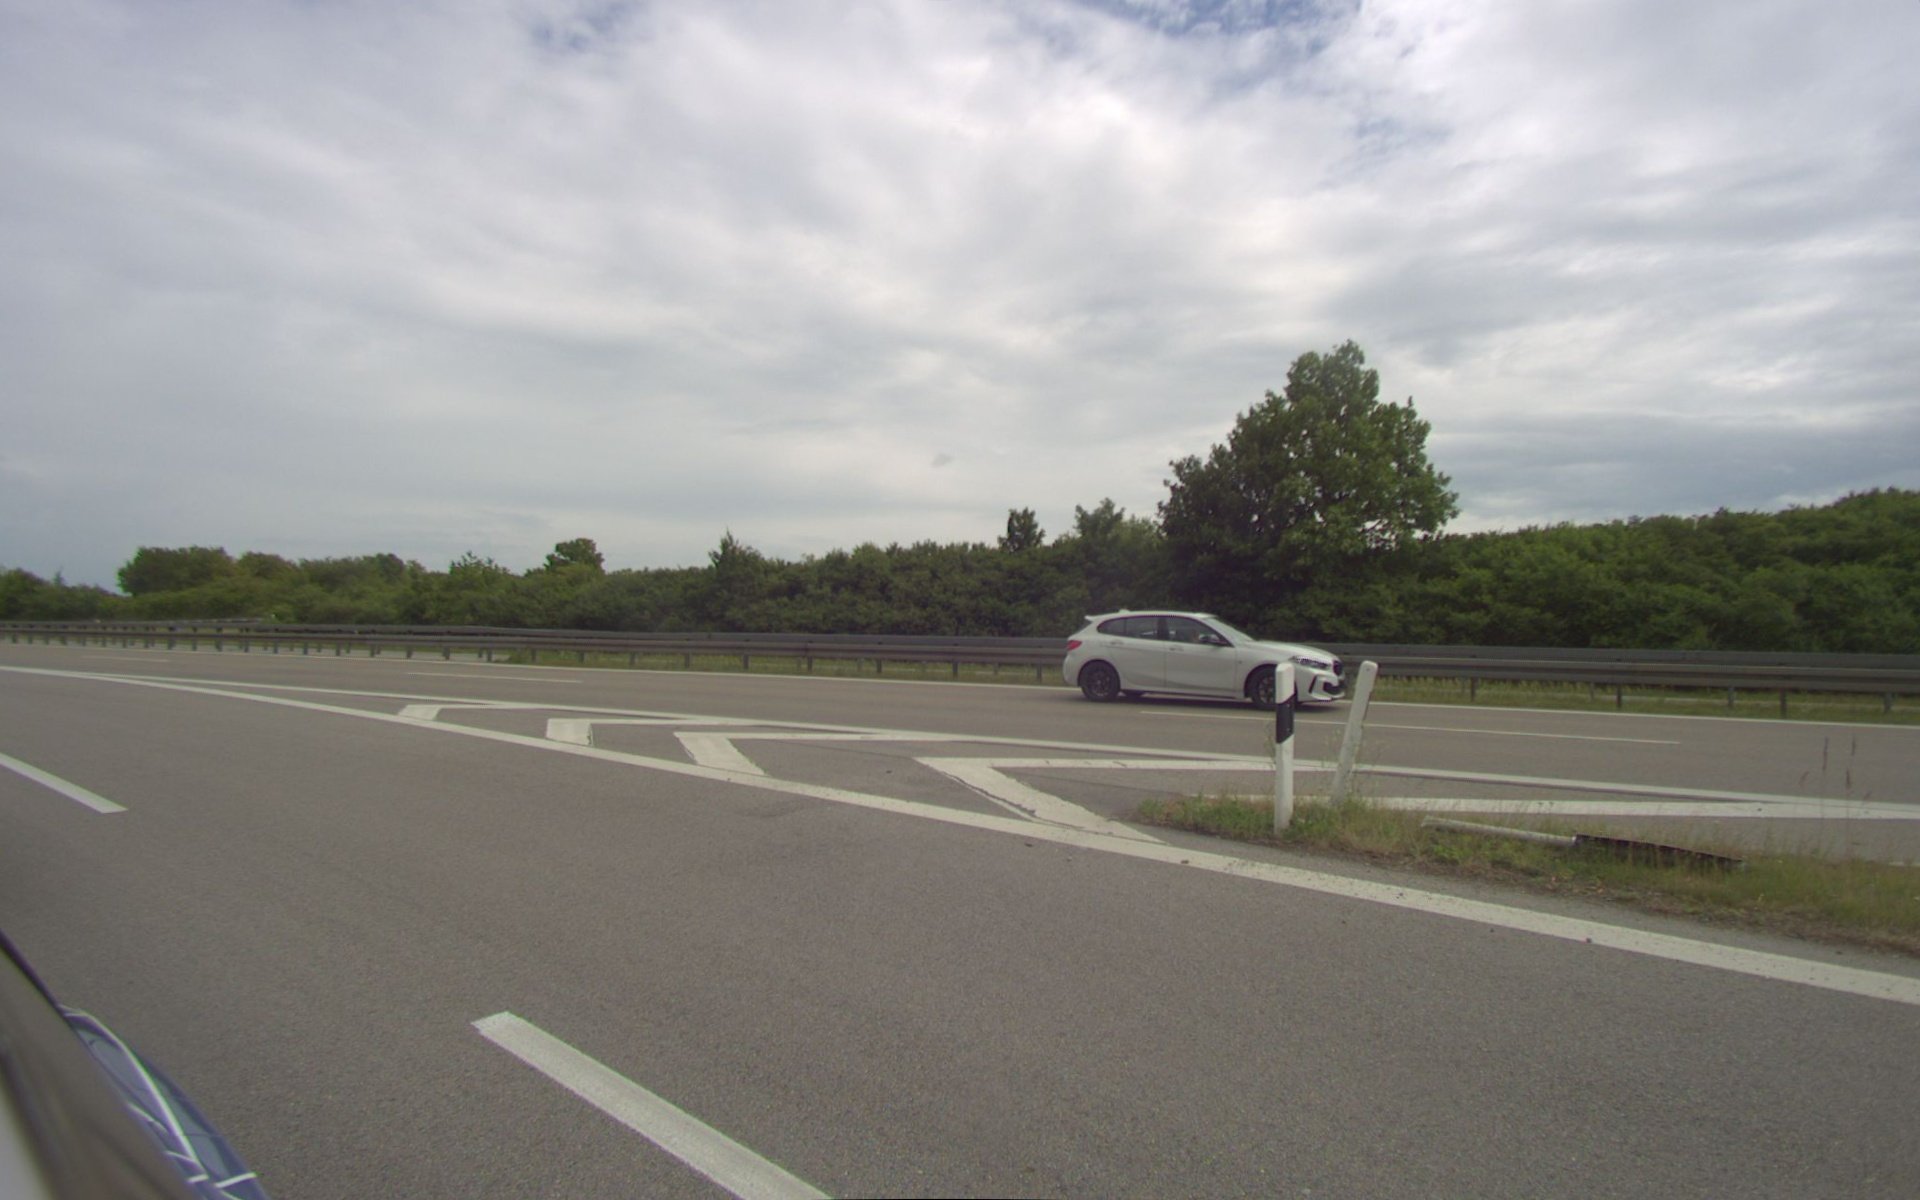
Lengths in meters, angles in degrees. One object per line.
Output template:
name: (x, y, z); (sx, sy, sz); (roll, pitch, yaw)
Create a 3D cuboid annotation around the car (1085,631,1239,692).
car: (5.775, 1.706, 29.022); (3.983, 1.608, 1.791); (0, -2, 29)

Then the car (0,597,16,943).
car: (-6.286, 0.754, 4.999); (4.024, 1.509, 1.826); (-1, -1, 39)

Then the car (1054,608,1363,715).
car: (3.829, 0.884, 15.757); (4.360, 1.464, 1.824); (0, -2, 30)
